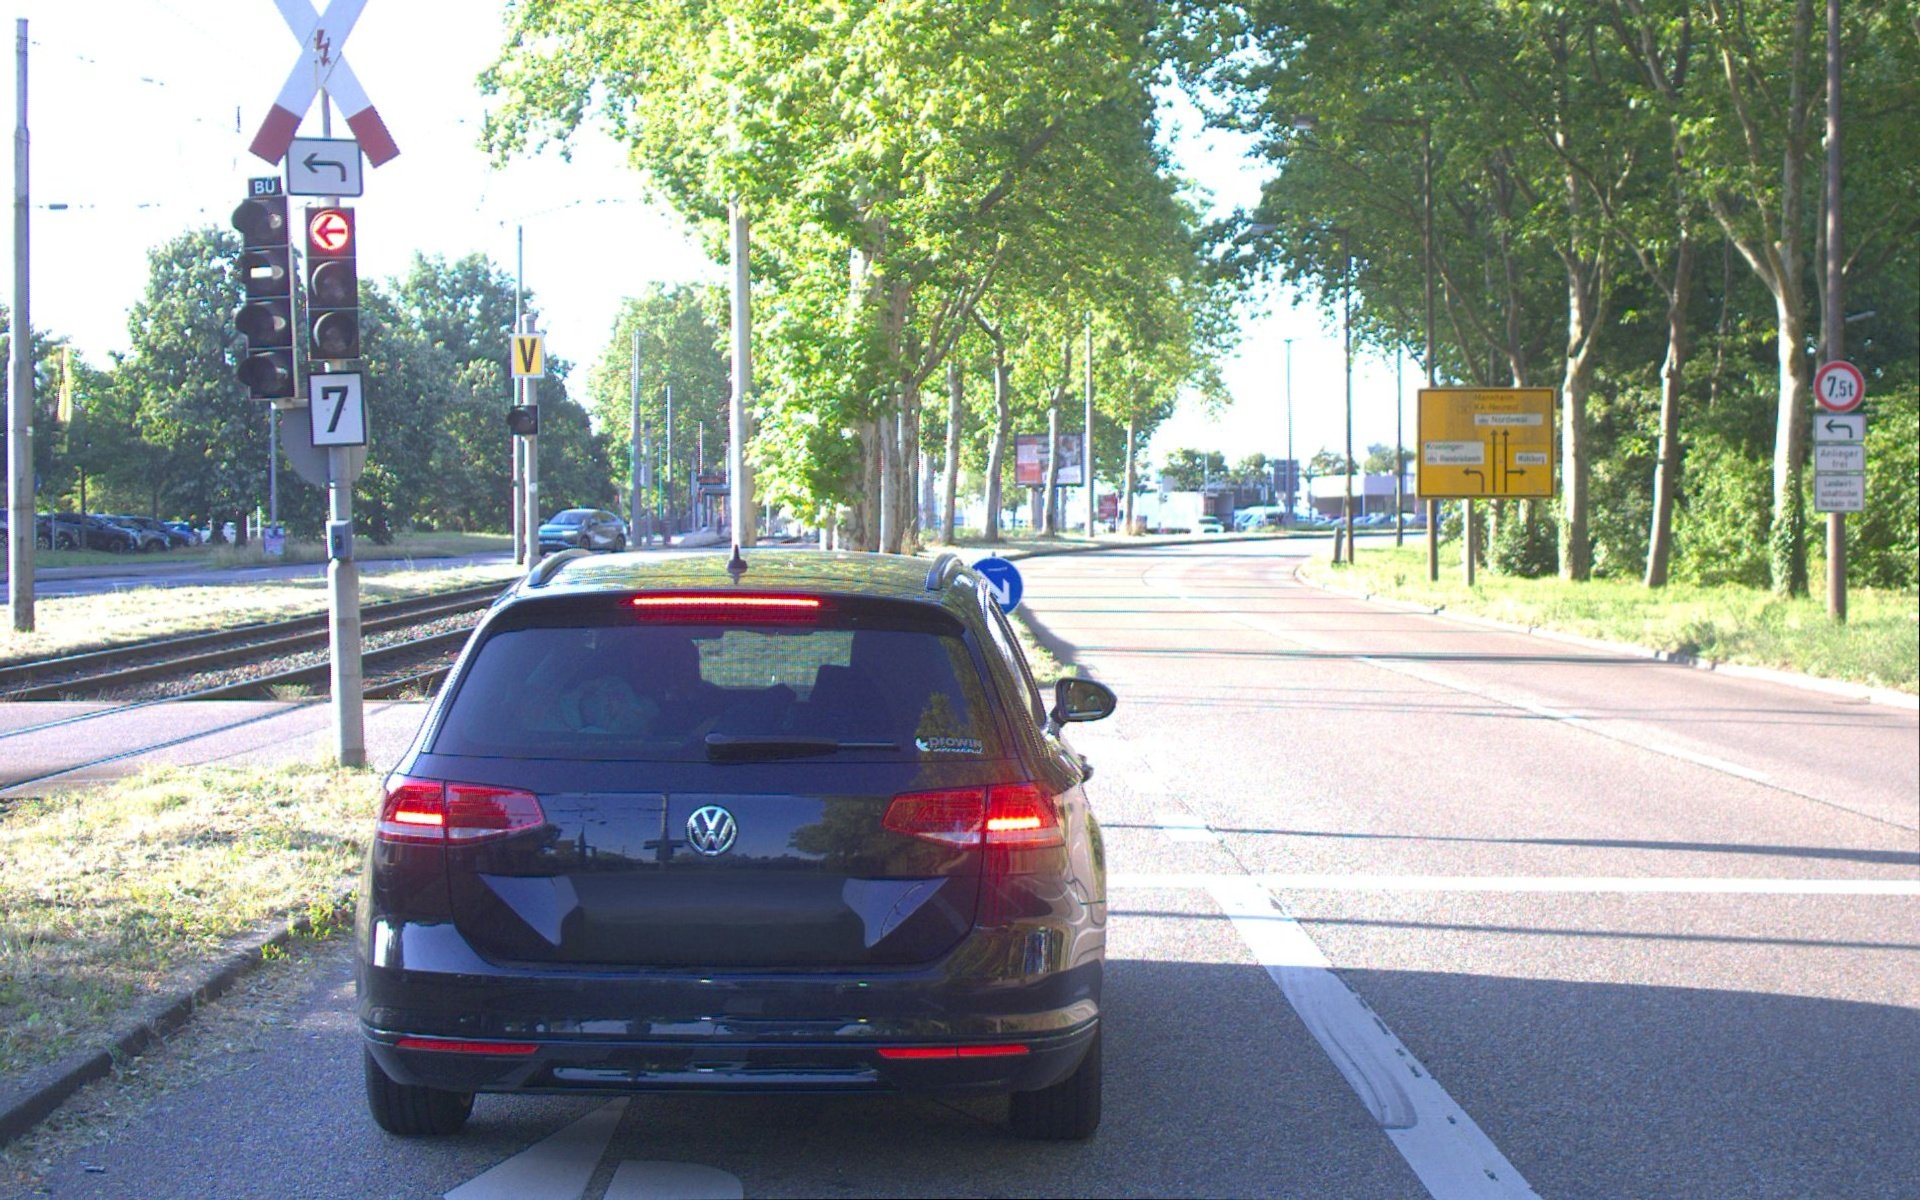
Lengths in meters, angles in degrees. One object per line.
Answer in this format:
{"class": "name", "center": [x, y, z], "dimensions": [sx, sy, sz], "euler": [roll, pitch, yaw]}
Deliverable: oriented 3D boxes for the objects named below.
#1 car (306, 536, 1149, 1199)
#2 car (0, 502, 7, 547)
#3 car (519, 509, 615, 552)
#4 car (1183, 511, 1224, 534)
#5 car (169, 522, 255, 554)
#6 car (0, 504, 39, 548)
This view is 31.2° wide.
{"class": "car", "center": [-0.538, 0.574, 9.195], "dimensions": [1.795, 1.459, 3.583], "euler": [1, 1, -1]}
{"class": "car", "center": [-36.714, -2.756, 124.444], "dimensions": [3.986, 1.615, 1.744], "euler": [0, 1, -5]}
{"class": "car", "center": [-14.090, -2.513, 123.542], "dimensions": [1.863, 1.476, 4.168], "euler": [1, 2, 18]}
{"class": "car", "center": [15.724, -5.005, 222.294], "dimensions": [1.861, 1.476, 4.093], "euler": [0, 1, -8]}
{"class": "car", "center": [-37.114, -3.087, 170.636], "dimensions": [3.986, 1.550, 1.744], "euler": [0, 1, -4]}
{"class": "car", "center": [-36.377, -2.772, 127.657], "dimensions": [3.986, 1.615, 1.744], "euler": [0, 1, -5]}
